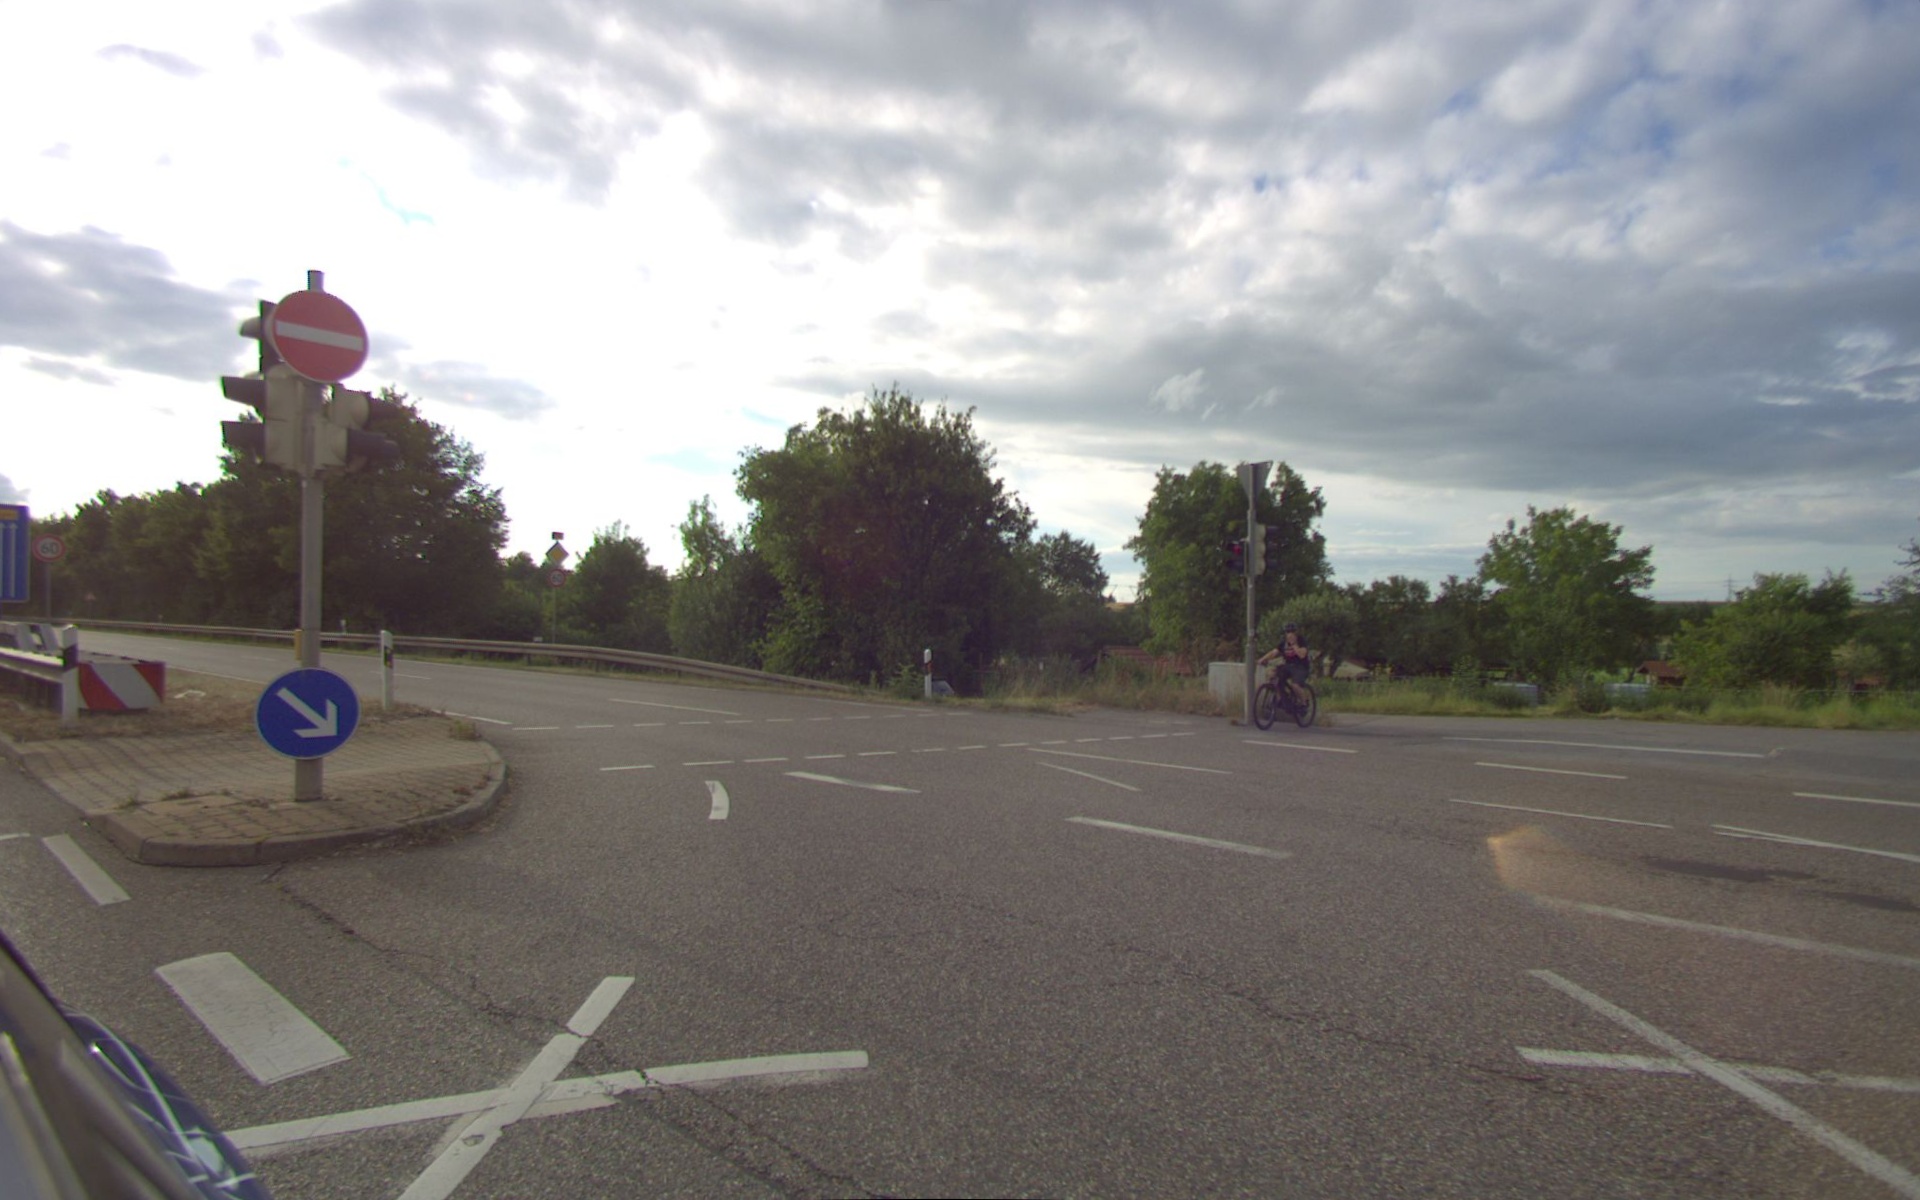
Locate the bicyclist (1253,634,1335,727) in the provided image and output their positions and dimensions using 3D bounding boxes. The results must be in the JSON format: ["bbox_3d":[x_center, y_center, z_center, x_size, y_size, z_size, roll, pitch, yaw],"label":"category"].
[{"bbox_3d":[5.512,1.296,16.677,1.208,1.462,0.816,2,-3,-44],"label":"bicyclist"}]

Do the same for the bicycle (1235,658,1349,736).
[{"bbox_3d":[5.491,1.552,16.642,2.292,1.146,0.816,2,-2,-44],"label":"bicycle"}]
